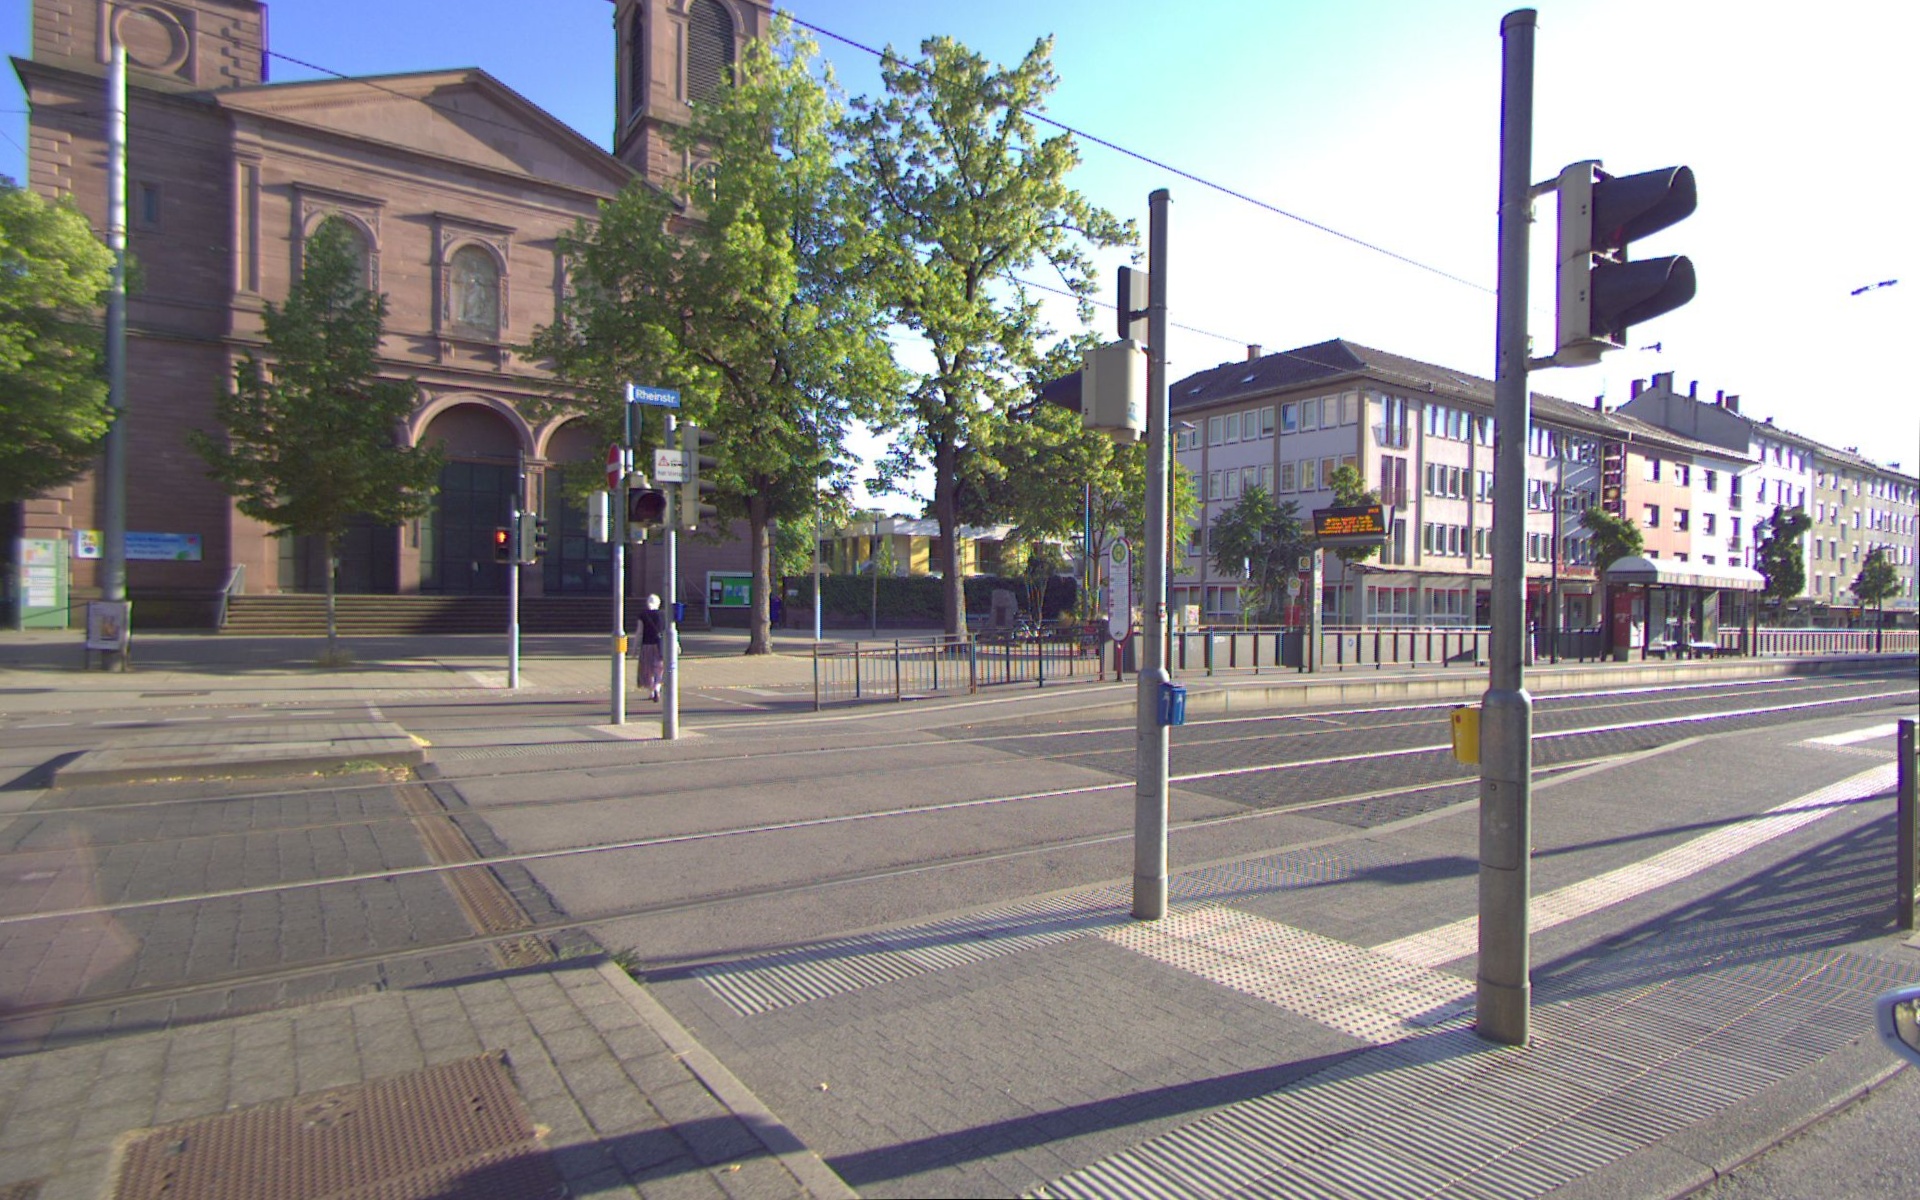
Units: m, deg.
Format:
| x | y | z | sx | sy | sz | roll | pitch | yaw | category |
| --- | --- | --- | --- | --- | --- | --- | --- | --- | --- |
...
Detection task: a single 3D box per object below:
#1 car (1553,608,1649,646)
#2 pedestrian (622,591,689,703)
| x | y | z | sx | sy | sz | roll | pitch | yaw | category |
| --- | --- | --- | --- | --- | --- | --- | --- | --- | --- |
| 30.720 | 1.281 | 48.185 | 3.440 | 1.702 | 1.772 | 1 | 0 | 4 | car |
| -5.023 | 0.757 | 16.550 | 0.823 | 1.783 | 0.914 | 1 | 0 | -32 | pedestrian |
